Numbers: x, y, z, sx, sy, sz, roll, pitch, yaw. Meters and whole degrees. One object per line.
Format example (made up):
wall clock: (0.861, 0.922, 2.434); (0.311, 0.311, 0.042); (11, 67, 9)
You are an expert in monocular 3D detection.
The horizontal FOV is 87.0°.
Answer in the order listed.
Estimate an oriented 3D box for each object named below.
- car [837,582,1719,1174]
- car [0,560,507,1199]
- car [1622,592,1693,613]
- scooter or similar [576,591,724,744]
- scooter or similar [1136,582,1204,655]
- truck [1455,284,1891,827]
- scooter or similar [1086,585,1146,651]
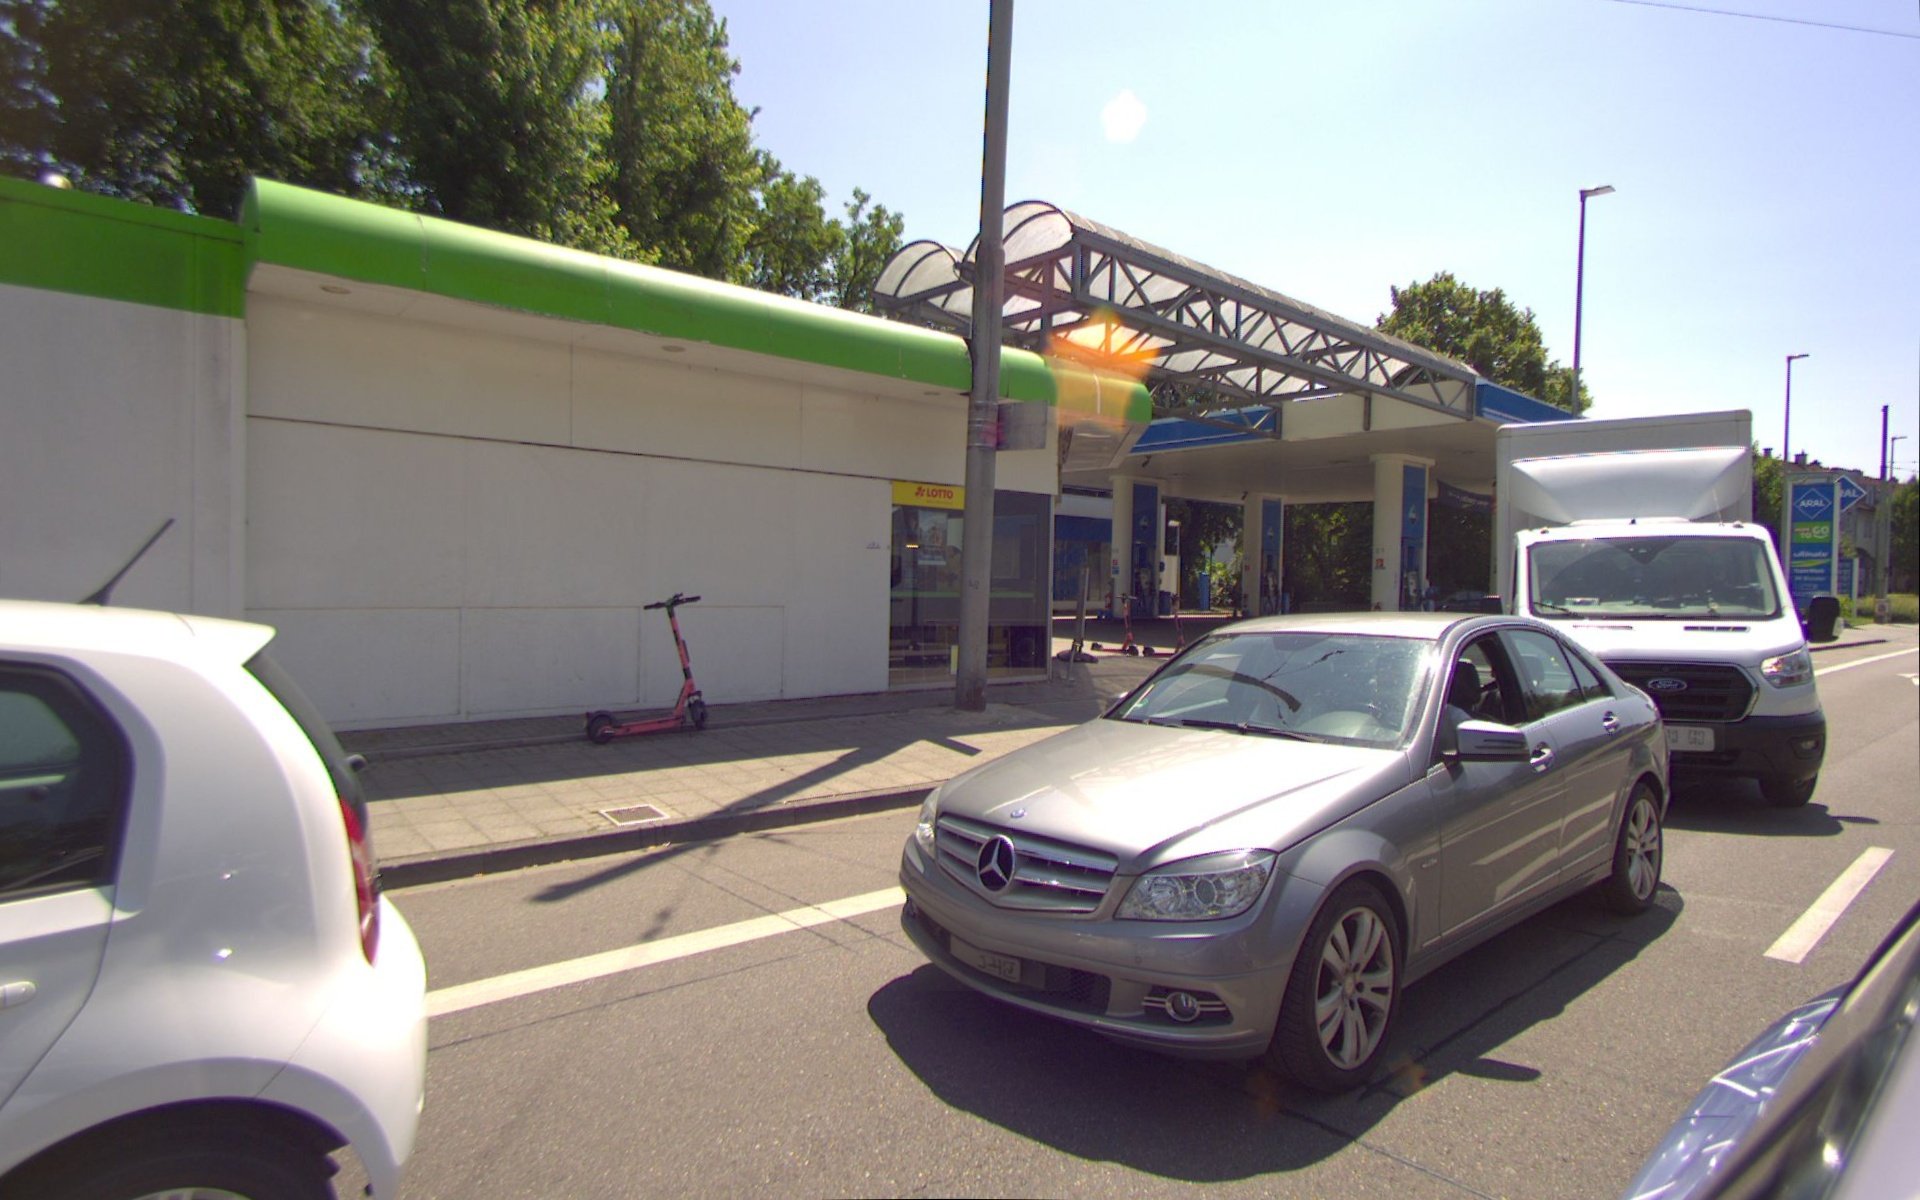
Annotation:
car: (1.757, 0.683, 4.634); (4.339, 1.467, 1.799); (0, 1, -40)
car: (-2.685, 0.679, 1.413); (3.458, 1.470, 1.610); (0, 0, -40)
car: (55.739, 0.159, 80.969); (1.961, 1.540, 4.230); (0, 1, -32)
scooter or similar: (-2.619, 0.536, 8.580); (1.117, 1.209, 0.384); (0, 4, -36)
scooter or similar: (3.754, 0.308, 18.153); (0.404, 1.256, 1.176); (0, 1, -39)
truck: (6.671, -0.354, 10.398); (2.406, 3.434, 7.753); (1, 1, 29)
scooter or similar: (2.932, 0.319, 19.074); (0.377, 1.191, 1.138); (0, 1, -39)
